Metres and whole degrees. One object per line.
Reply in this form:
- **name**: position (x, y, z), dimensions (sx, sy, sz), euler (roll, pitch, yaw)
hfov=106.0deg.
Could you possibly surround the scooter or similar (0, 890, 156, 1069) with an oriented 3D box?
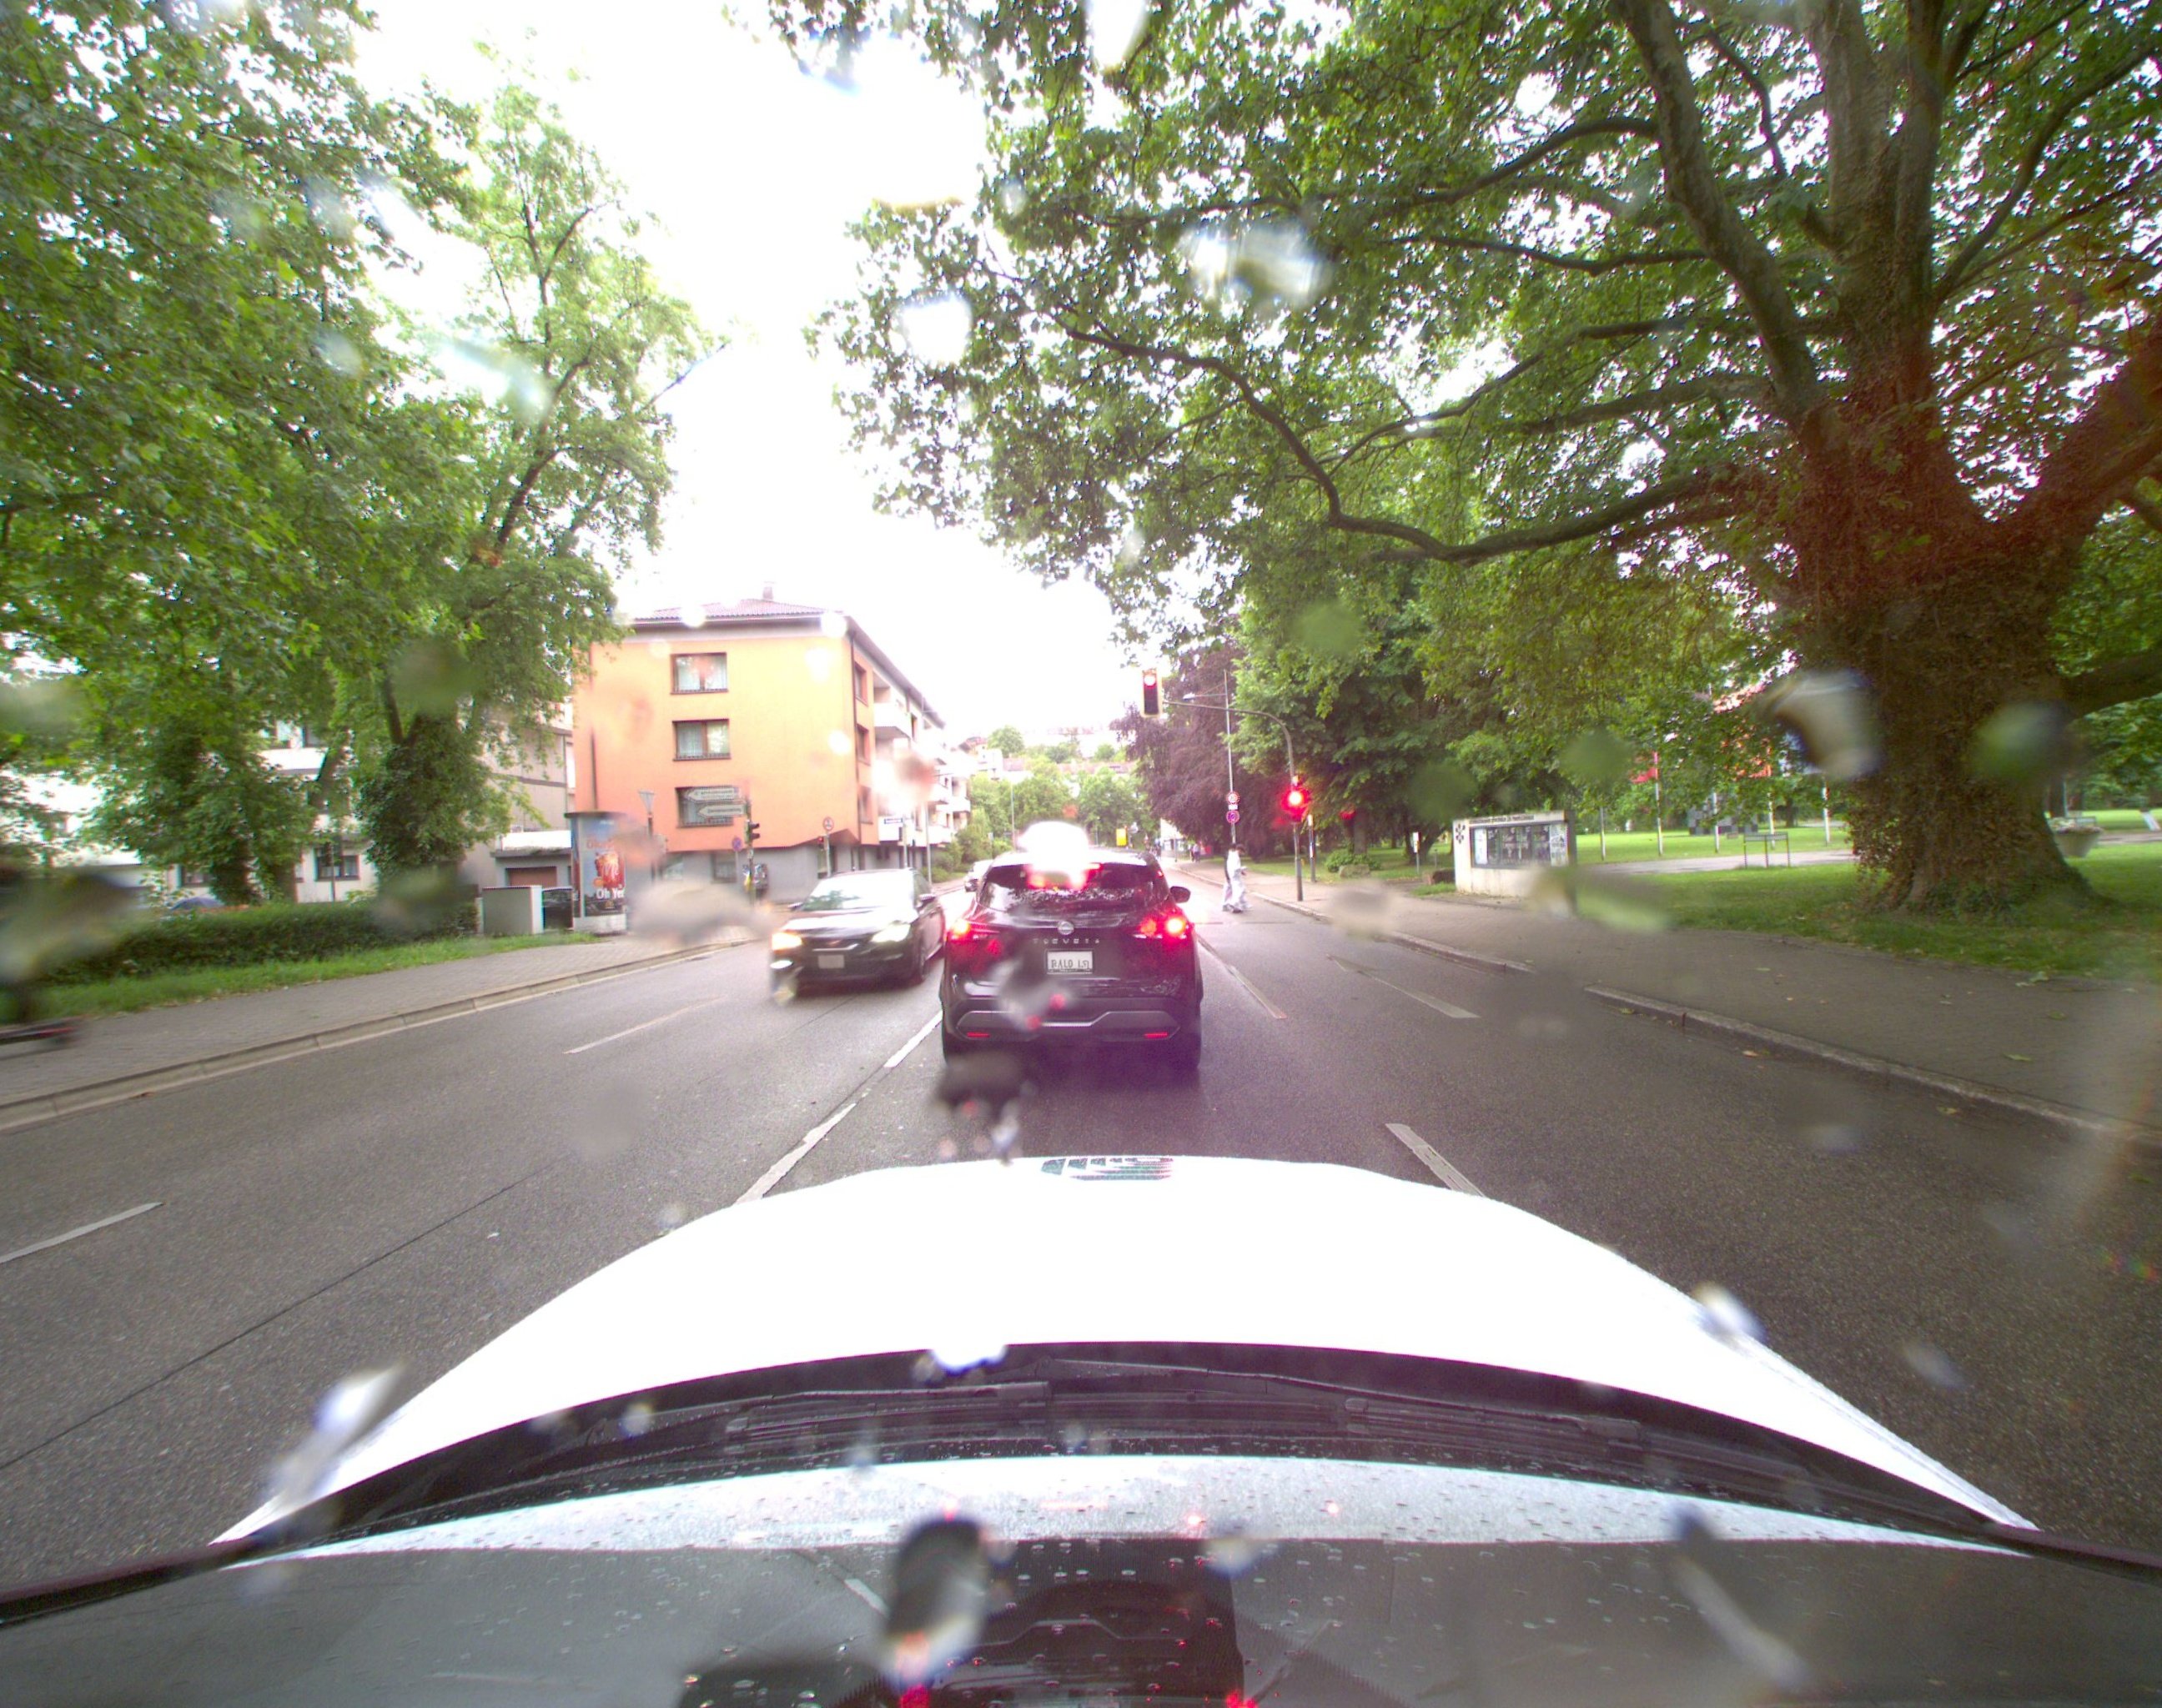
- **scooter or similar**: position (-9.495, 1.090, 7.280), dimensions (0.811, 1.445, 1.399), euler (-1, 0, 1)

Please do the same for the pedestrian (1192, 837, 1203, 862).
- **pedestrian**: position (9.578, -0.378, 67.163), dimensions (0.722, 2.013, 0.852), euler (-3, 0, 2)

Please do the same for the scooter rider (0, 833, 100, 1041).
- **scooter rider**: position (-9.543, 0.727, 7.288), dimensions (0.730, 1.766, 0.646), euler (-2, -1, 2)

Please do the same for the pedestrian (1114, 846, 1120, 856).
- **pedestrian**: position (5.982, -0.508, 135.228), dimensions (0.503, 1.673, 0.663), euler (-3, 0, 29)

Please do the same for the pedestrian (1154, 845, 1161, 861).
- **pedestrian**: position (8.442, -0.108, 89.640), dimensions (0.510, 1.802, 0.615), euler (-3, 0, -20)

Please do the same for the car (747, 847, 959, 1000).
- **car**: position (-2.906, 0.789, 11.356), dimensions (1.841, 1.625, 4.133), euler (-4, 0, -3)

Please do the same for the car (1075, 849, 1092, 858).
- **car**: position (0.505, -0.070, 165.227), dimensions (1.618, 1.532, 3.993), euler (-3, 0, 33)

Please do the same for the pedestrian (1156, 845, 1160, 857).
- **pedestrian**: position (11.514, -0.453, 121.378), dimensions (0.507, 1.802, 0.619), euler (-3, 0, 0)

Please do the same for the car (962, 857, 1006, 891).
- **car**: position (-4.844, 0.951, 41.087), dimensions (1.791, 1.533, 3.865), euler (-3, 0, -2)

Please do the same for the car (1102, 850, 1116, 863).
- **car**: position (3.414, 0.284, 98.758), dimensions (1.628, 1.532, 3.969), euler (-3, 0, 2)

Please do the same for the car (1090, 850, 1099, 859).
- **car**: position (2.648, 0.123, 159.078), dimensions (1.628, 1.532, 3.969), euler (-3, 0, 2)

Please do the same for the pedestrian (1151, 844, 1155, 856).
- **pedestrian**: position (10.740, -0.554, 121.064), dimensions (0.506, 1.802, 0.659), euler (-3, 0, 3)

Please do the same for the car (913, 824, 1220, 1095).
- **car**: position (-0.027, 0.660, 7.131), dimensions (1.906, 1.680, 4.002), euler (-1, 0, 2)

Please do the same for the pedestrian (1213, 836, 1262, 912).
- **pedestrian**: position (3.949, 0.492, 20.598), dimensions (1.035, 1.876, 0.656), euler (-1, 0, -9)

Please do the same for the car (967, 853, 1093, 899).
- **car**: position (-1.887, 0.819, 31.384), dimensions (4.676, 1.403, 1.809), euler (-4, 0, -42)

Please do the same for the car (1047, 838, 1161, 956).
- **car**: position (0.413, 0.669, 14.569), dimensions (1.692, 1.745, 3.642), euler (-3, 0, 2)

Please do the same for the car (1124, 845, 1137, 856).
- **car**: position (8.680, -0.616, 141.583), dimensions (1.983, 1.735, 4.007), euler (0, 0, 7)

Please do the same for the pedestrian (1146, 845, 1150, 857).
- **pedestrian**: position (10.013, -0.478, 121.957), dimensions (0.506, 1.802, 0.620), euler (-3, 0, 1)

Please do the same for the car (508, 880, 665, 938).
- **car**: position (-15.907, 1.739, 26.341), dimensions (3.847, 1.533, 1.799), euler (-4, 0, -4)

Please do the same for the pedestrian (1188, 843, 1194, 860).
- **pedestrian**: position (9.715, -0.237, 71.842), dimensions (0.388, 1.502, 0.559), euler (-3, 0, 2)

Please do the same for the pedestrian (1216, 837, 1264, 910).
- **pedestrian**: position (4.154, 0.495, 21.345), dimensions (1.035, 1.876, 0.656), euler (-1, 0, -9)
